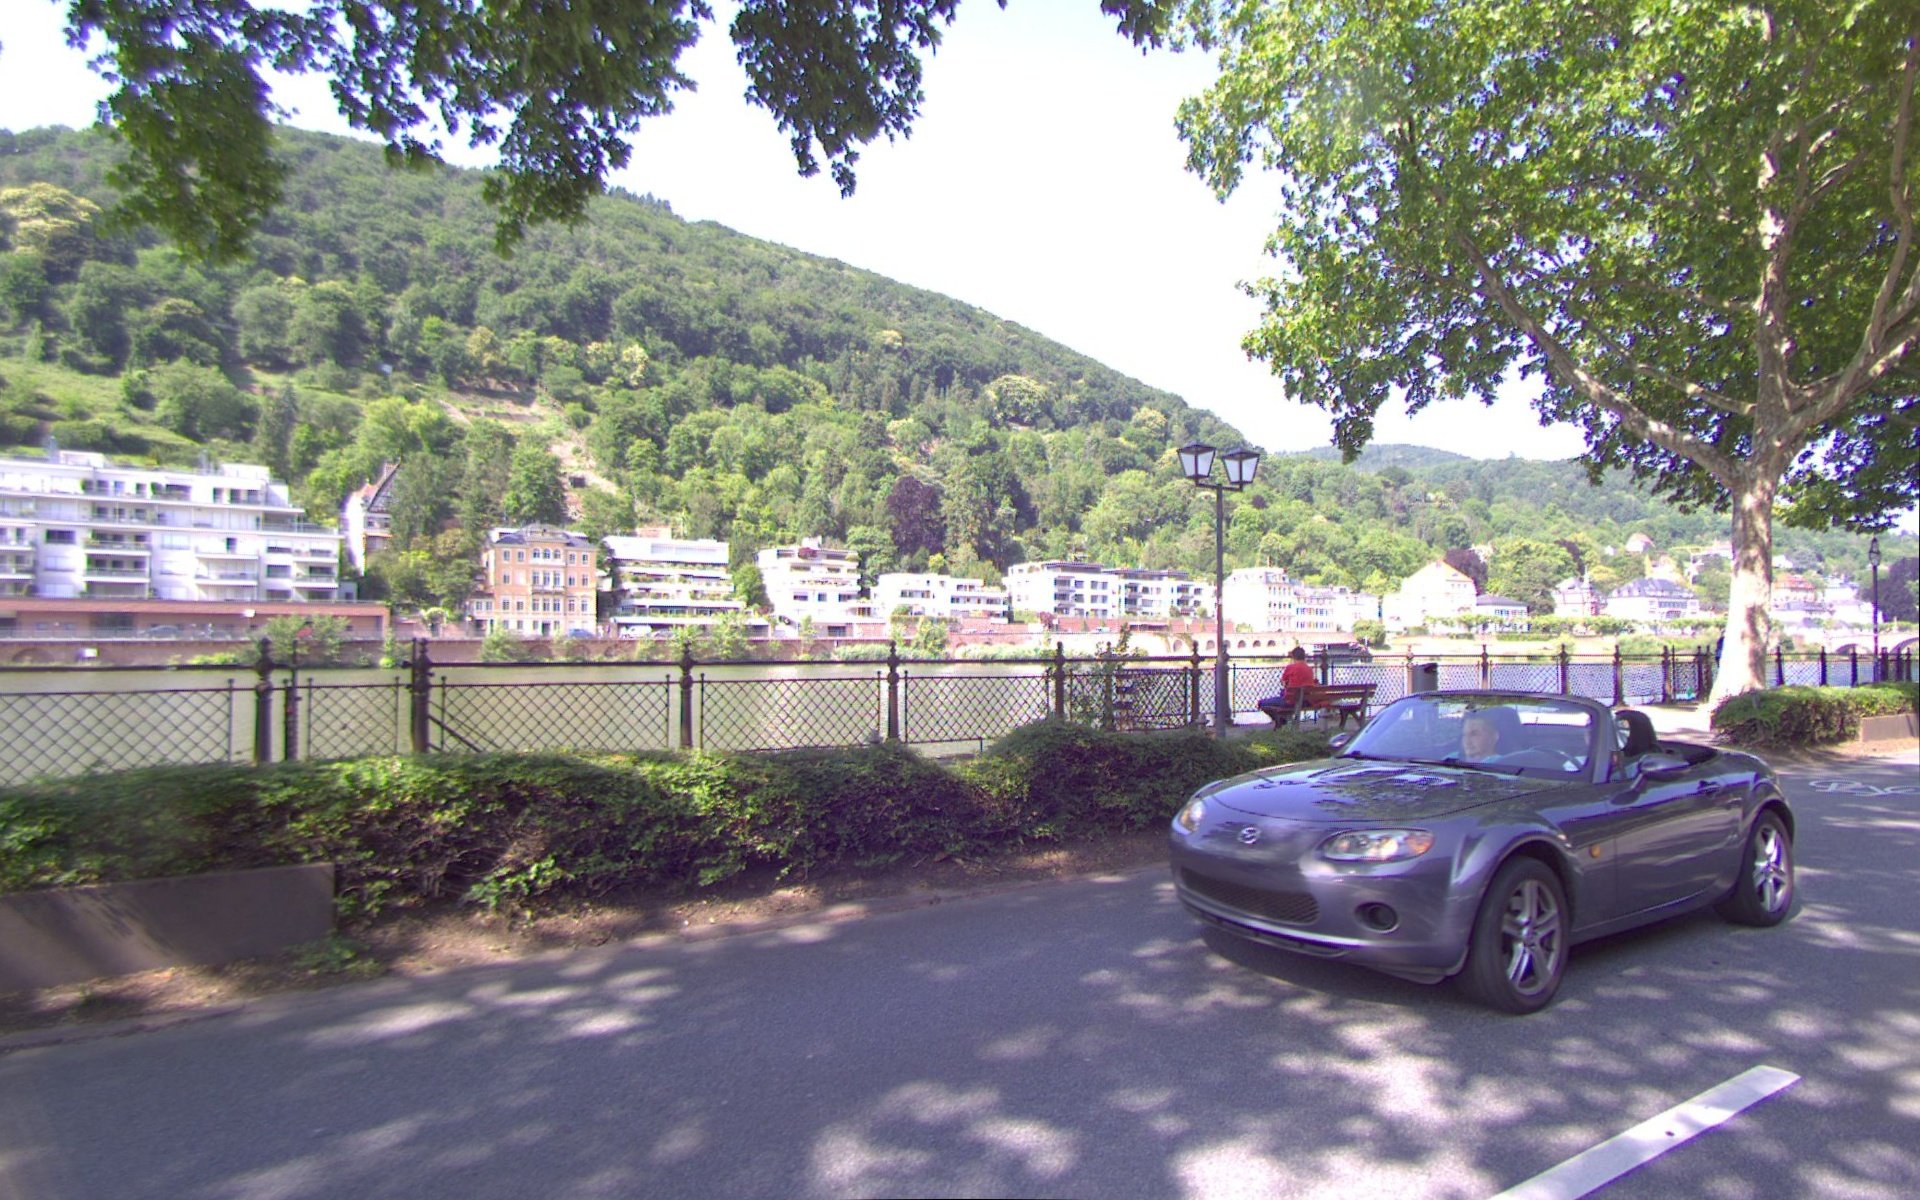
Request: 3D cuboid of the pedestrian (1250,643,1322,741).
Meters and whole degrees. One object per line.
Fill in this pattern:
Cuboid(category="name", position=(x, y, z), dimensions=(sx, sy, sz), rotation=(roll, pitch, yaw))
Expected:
Cuboid(category="pedestrian", position=(4.672, 1.300, 14.406), dimensions=(0.649, 1.325, 0.699), rotation=(2, 0, -30))

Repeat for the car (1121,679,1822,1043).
Cuboid(category="car", position=(2.708, 1.054, 5.202), dimensions=(3.447, 1.226, 1.690), rotation=(2, -5, -32))

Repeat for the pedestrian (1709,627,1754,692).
Cuboid(category="pedestrian", position=(19.750, 1.522, 25.712), dimensions=(0.696, 1.624, 0.701), rotation=(2, -2, -29))

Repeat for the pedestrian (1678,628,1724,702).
Cuboid(category="pedestrian", position=(18.553, 1.608, 25.149), dimensions=(0.696, 1.820, 0.701), rotation=(2, -2, -29))
